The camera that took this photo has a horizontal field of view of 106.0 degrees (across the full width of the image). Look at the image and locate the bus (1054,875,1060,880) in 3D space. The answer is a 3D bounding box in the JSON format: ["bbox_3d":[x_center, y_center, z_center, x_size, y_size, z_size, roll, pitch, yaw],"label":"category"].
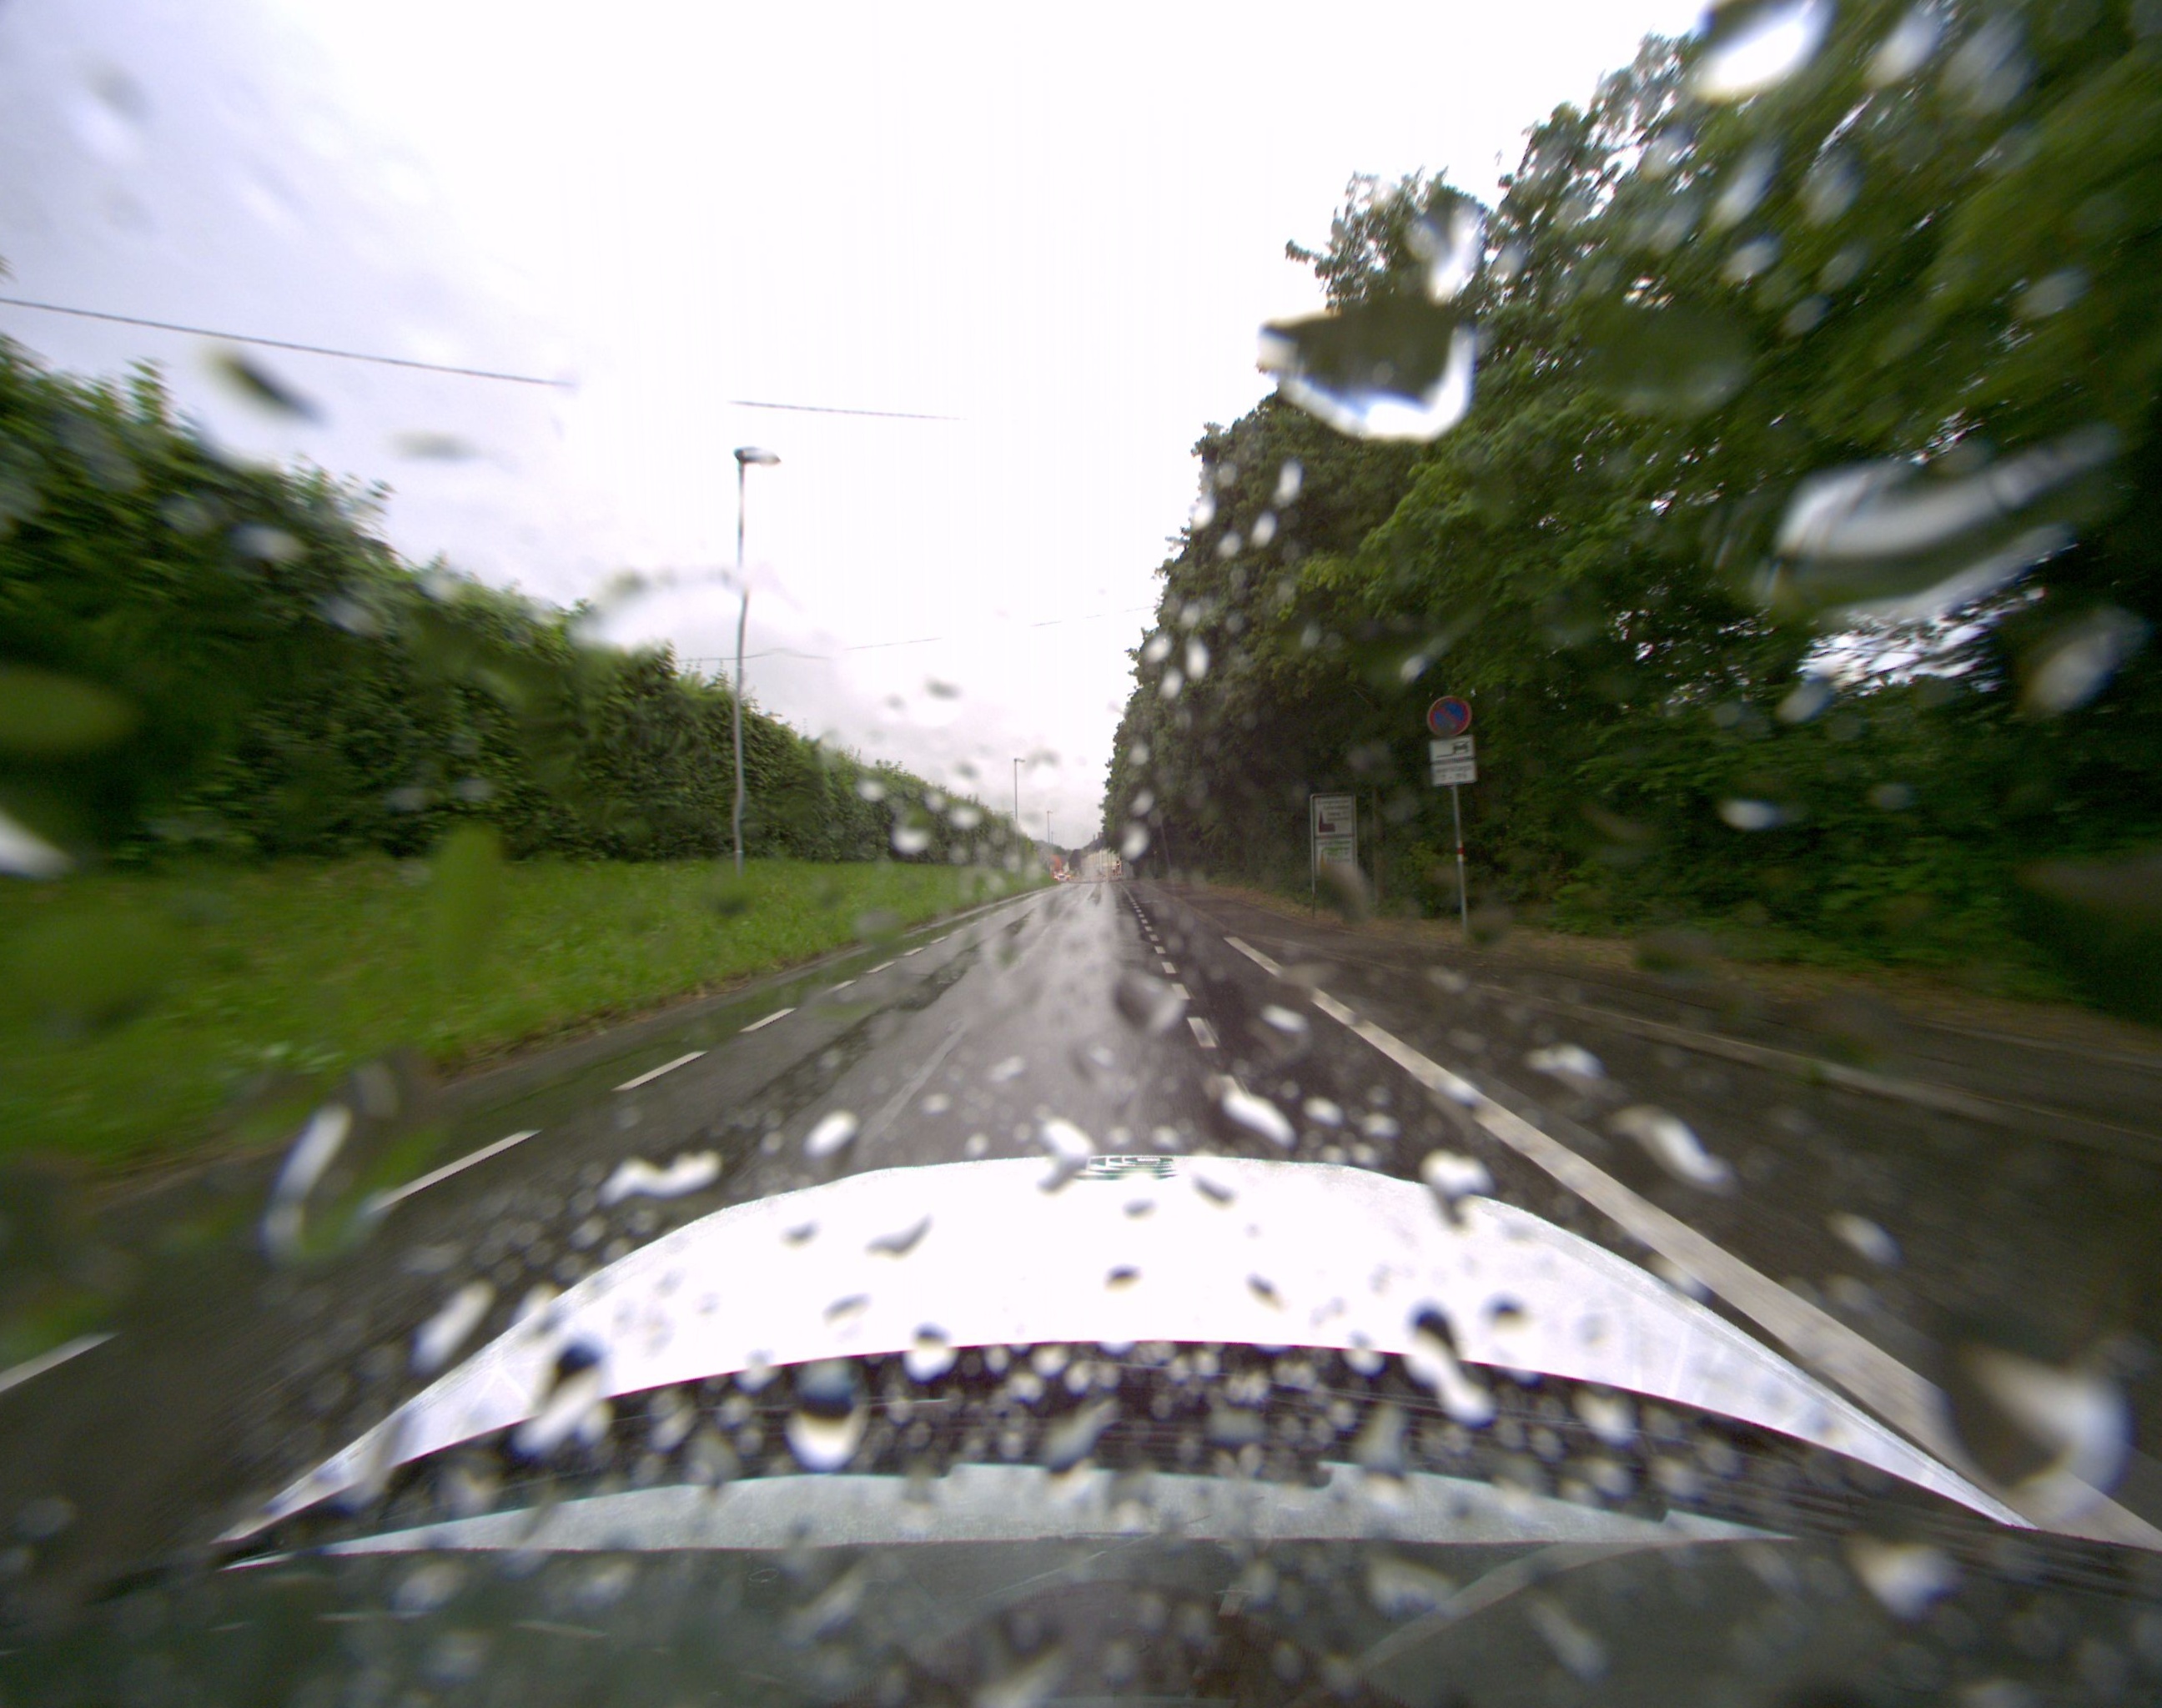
[{"bbox_3d":[-7.587,7.469,257.139,1.789,1.410,3.997,0,-2,-1],"label":"bus"}]

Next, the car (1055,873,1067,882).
[{"bbox_3d":[-4.011,4.801,165.518,1.992,1.611,3.990,1,0,-8],"label":"car"}]
